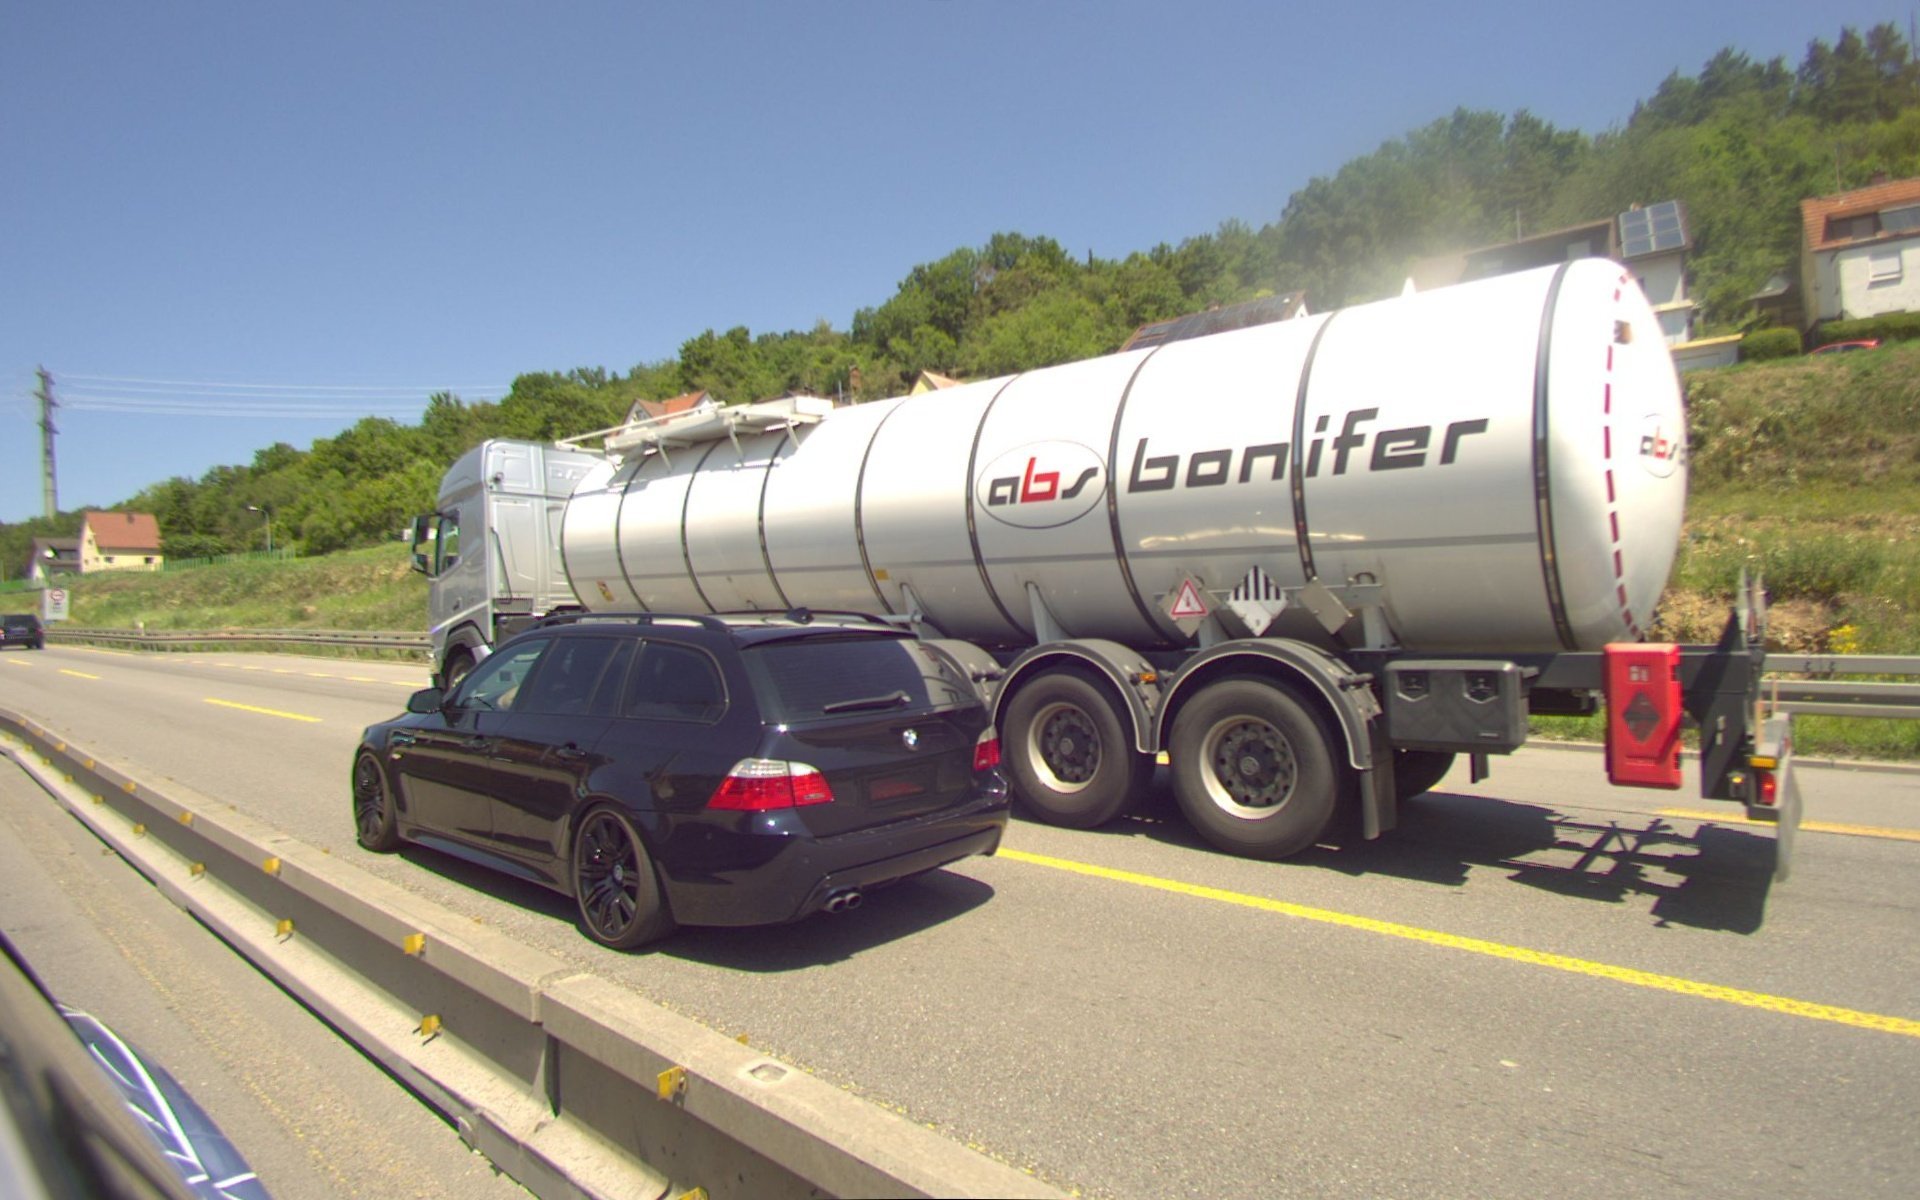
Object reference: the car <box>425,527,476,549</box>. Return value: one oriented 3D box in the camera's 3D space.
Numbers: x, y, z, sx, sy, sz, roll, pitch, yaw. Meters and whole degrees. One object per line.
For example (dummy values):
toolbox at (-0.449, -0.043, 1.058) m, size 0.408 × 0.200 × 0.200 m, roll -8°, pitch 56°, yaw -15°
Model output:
car at (-44.748, -5.406, 88.807) m, size 4.538 × 1.668 × 1.978 m, roll 0°, pitch 0°, yaw 32°

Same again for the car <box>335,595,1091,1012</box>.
car at (-1.732, 0.748, 5.748) m, size 4.678 × 1.425 × 1.875 m, roll -2°, pitch -1°, yaw 42°

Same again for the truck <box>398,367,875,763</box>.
truck at (-4.256, -0.279, 12.564) m, size 6.273 × 3.700 × 2.750 m, roll -2°, pitch -1°, yaw 41°

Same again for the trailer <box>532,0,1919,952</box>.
trailer at (0.626, -0.378, 8.279) m, size 11.788 × 3.621 × 2.688 m, roll -2°, pitch -1°, yaw 41°

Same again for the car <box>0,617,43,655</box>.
car at (-46.618, 1.727, 49.723) m, size 4.495 × 1.779 × 1.809 m, roll -1°, pitch -1°, yaw 41°

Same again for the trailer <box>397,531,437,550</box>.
trailer at (-49.146, -5.405, 91.642) m, size 3.026 × 1.527 × 1.888 m, roll 0°, pitch 0°, yaw 31°

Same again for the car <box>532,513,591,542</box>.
car at (-31.633, -5.725, 80.231) m, size 4.964 × 2.023 × 2.052 m, roll 0°, pitch 0°, yaw 36°

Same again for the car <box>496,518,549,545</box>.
car at (-35.913, -5.595, 83.055) m, size 4.422 × 1.886 × 1.976 m, roll 0°, pitch 0°, yaw 36°
